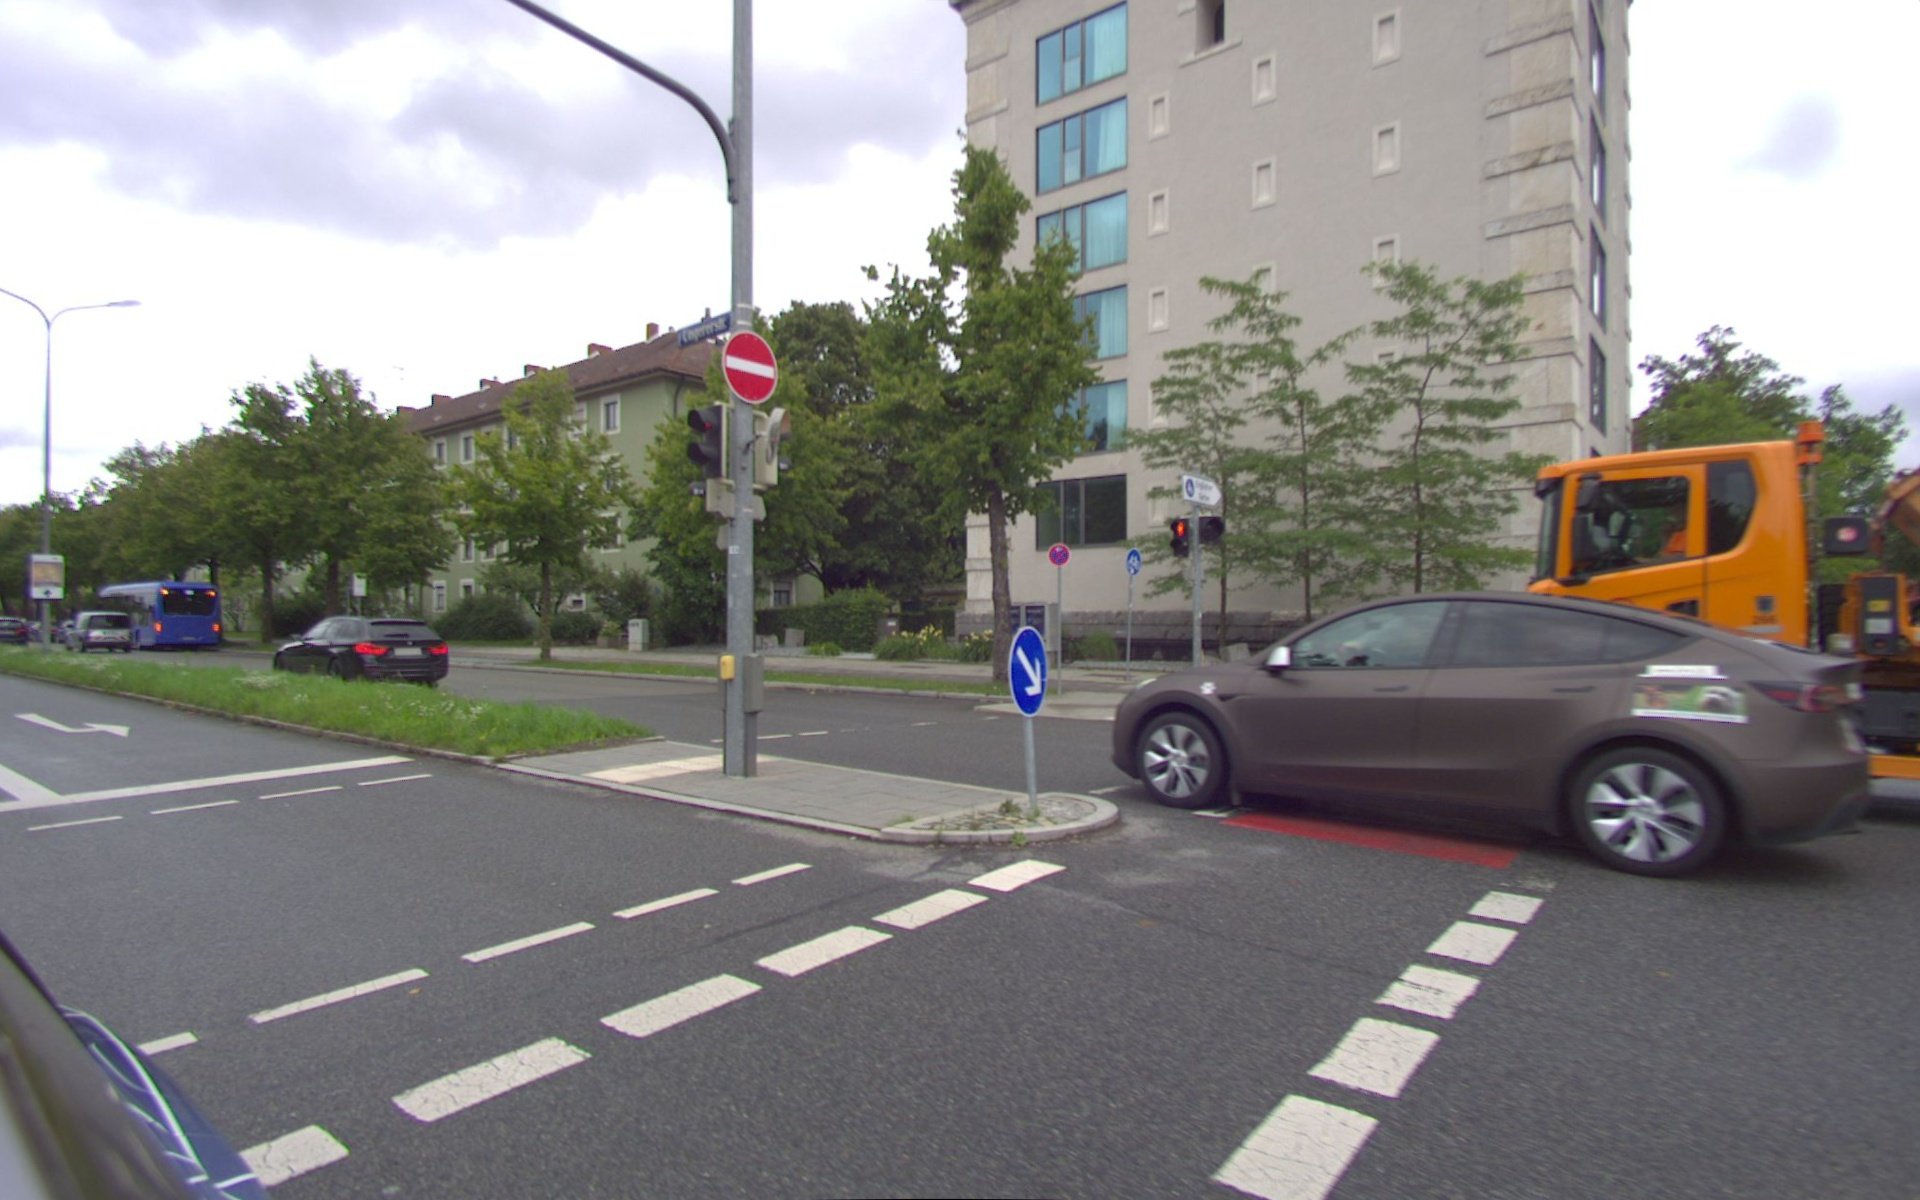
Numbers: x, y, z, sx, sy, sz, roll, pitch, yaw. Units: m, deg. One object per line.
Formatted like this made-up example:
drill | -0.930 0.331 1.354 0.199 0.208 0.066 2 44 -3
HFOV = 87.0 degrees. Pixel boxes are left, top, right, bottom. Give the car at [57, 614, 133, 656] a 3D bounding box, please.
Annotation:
car | -39.336 1.593 46.012 4.425 1.825 1.762 -1 -3 39

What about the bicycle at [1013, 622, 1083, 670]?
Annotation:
bicycle | 2.287 1.184 26.408 1.825 1.190 0.539 -1 -1 40

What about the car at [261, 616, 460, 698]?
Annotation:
car | -12.220 1.111 20.508 4.894 1.473 1.907 -1 -3 40

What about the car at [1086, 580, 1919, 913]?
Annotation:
car | 3.352 0.745 6.934 4.747 1.553 1.843 -1 -3 41

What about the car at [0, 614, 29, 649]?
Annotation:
car | -44.870 1.472 47.043 4.286 1.582 1.682 -1 -1 39

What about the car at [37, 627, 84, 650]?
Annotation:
car | -61.216 2.582 68.849 3.907 1.473 1.833 -1 0 40

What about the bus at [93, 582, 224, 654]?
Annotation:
bus | -41.505 0.972 52.187 12.036 3.369 2.718 -1 -3 39

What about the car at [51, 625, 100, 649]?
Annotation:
car | -57.347 2.393 65.631 3.907 1.473 1.833 -1 0 40

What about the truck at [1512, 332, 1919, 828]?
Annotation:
truck | 8.286 -0.116 7.143 7.266 3.382 2.750 -1 -3 43

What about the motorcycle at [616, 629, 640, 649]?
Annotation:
motorcycle | -14.636 1.706 44.617 1.233 0.889 0.429 -1 -1 39

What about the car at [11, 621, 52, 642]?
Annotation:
car | -69.470 2.331 75.711 3.907 1.473 1.833 -1 0 40
